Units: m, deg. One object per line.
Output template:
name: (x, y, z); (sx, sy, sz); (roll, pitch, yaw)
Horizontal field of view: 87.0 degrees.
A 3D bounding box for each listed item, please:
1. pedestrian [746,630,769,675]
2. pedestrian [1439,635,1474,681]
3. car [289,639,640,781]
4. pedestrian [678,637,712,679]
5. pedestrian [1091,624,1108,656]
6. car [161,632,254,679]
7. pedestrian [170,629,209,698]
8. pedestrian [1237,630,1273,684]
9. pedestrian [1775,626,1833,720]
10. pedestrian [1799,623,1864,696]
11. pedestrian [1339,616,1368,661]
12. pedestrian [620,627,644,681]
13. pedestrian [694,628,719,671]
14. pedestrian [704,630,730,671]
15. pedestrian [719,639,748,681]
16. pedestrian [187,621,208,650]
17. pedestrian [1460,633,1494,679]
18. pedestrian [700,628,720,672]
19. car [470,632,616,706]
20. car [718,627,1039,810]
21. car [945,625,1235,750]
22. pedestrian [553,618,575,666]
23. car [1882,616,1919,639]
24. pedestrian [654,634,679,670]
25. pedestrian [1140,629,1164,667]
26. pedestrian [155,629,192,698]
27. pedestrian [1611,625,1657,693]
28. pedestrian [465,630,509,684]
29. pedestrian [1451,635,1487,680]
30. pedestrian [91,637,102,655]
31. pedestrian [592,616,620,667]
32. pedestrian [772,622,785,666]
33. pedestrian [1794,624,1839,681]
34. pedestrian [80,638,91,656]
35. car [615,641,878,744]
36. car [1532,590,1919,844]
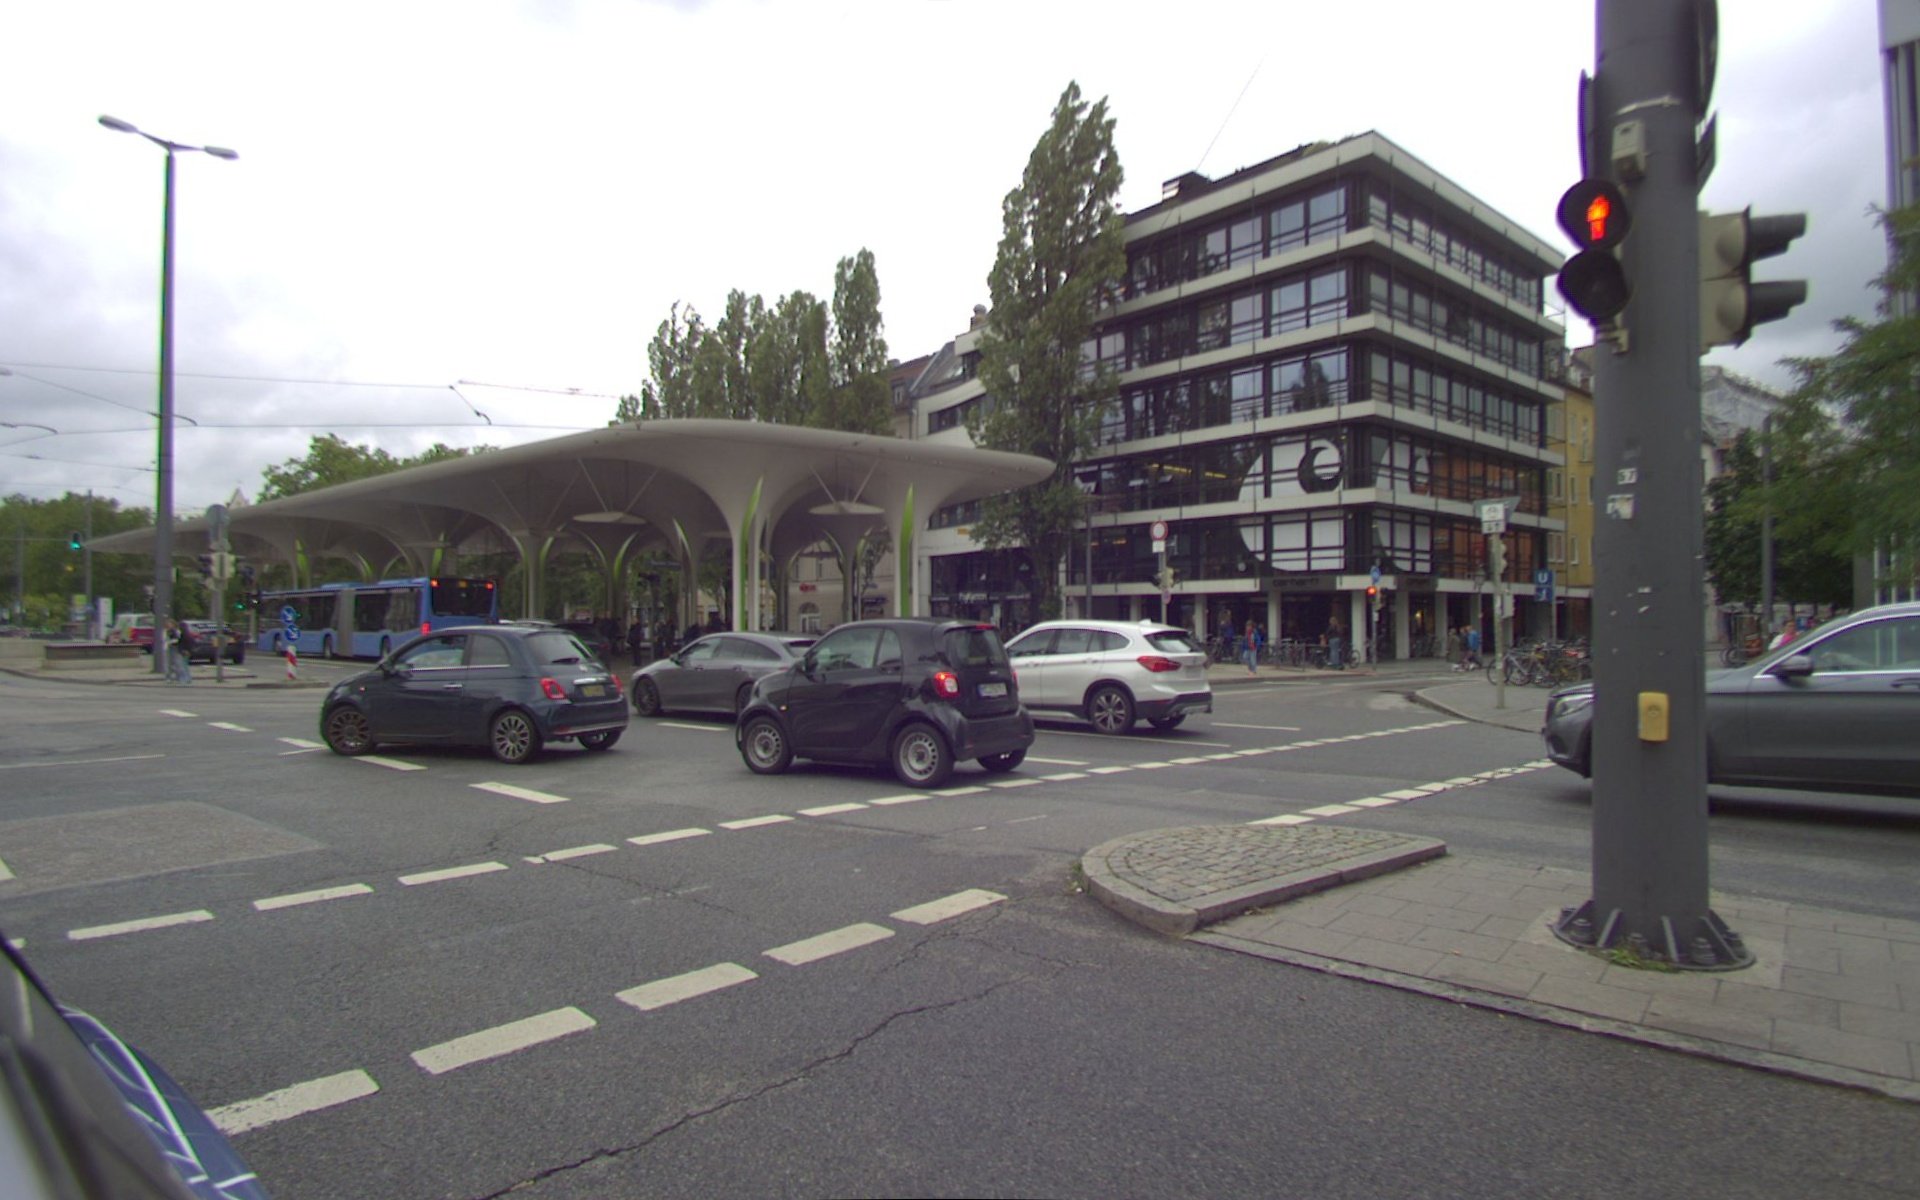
pedestrian: (-7.444, 1.914, 37.213); (0.624, 1.623, 0.589); (-2, -2, 45)
pedestrian: (18.059, 2.091, 36.829); (0.777, 1.654, 0.860); (1, -2, -38)
car: (-5.656, 1.190, 11.659); (3.507, 1.457, 1.542); (-1, -3, 16)
pedestrian: (-9.363, 2.030, 35.704); (1.007, 1.464, 0.857); (0, -2, -27)
pedestrian: (7.241, 2.075, 52.492); (0.585, 1.604, 0.674); (1, -2, -39)
car: (-26.483, 1.920, 35.592); (4.277, 1.520, 1.648); (-2, -1, 39)
pedestrian: (-18.553, 1.515, 24.374); (0.551, 1.631, 0.486); (-1, -2, 6)
pedestrian: (9.297, 1.781, 31.899); (0.845, 1.654, 0.790); (1, -3, -45)
pedestrian: (14.671, 1.255, 17.605); (0.720, 1.586, 0.631); (-2, -2, 40)
pedestrian: (20.741, 1.409, 24.107); (0.854, 1.700, 0.785); (-1, -2, 14)
pedestrian: (17.851, 1.733, 45.871); (0.823, 2.029, 0.919); (1, -2, -42)
pedestrian: (-10.726, 1.747, 33.075); (0.540, 1.733, 0.616); (1, -2, -42)
pedestrian: (-9.557, 1.855, 38.185); (0.860, 1.595, 0.552); (0, -2, -7)
pedestrian: (-8.808, 1.836, 36.670); (0.860, 1.469, 0.552); (0, -2, -7)
pedestrian: (-8.515, 2.246, 38.006); (0.797, 1.542, 0.725); (-2, -2, 43)
pedestrian: (-48.649, 2.270, 64.584); (0.802, 1.853, 0.664); (-1, -2, 10)
pedestrian: (19.320, 2.079, 37.829); (0.789, 1.666, 0.854); (1, -2, -38)
pedestrian: (-9.248, 1.848, 37.416); (0.655, 1.595, 0.499); (0, -2, -8)
car: (-10.417, 1.648, 25.174); (3.998, 1.674, 1.764); (-2, -2, 41)
car: (-0.815, 1.059, 9.950); (2.828, 1.546, 1.491); (-1, -3, 32)
car: (1.841, 1.223, 15.016); (3.996, 1.608, 1.681); (-2, -4, 40)
pedestrian: (-14.394, 1.510, 36.792); (0.692, 1.724, 0.759); (0, -2, -25)
car: (73.679, 2.123, 79.079); (3.937, 1.764, 1.964); (1, -2, -41)
pedestrian: (-13.407, 2.359, 46.202); (0.801, 1.623, 0.791); (1, -2, -43)
pedestrian: (9.245, 2.313, 48.723); (0.710, 1.814, 0.829); (1, -2, -40)
pedestrian: (-18.957, 1.528, 24.407); (0.514, 1.631, 0.464); (0, -2, -6)
pedestrian: (16.637, 1.441, 24.999); (0.805, 1.631, 0.834); (-1, -2, 26)
pedestrian: (-15.022, 1.796, 32.134); (0.835, 1.694, 0.966); (-1, -2, 21)
pedestrian: (18.765, 2.099, 37.304); (0.730, 1.600, 0.951); (1, -2, -38)
pedestrian: (-75.501, 4.047, 88.501); (0.588, 1.570, 0.624); (-2, -3, 39)
pedestrian: (-12.910, 1.490, 36.897); (0.793, 1.831, 0.707); (1, -2, -34)
pedestrian: (-8.231, 1.996, 45.966); (0.418, 1.947, 0.481); (-1, -2, 12)
pedestrian: (25.987, 1.580, 30.709); (0.789, 1.666, 0.854); (1, -2, -38)
pedestrian: (-75.825, 4.061, 87.743); (0.588, 1.570, 0.624); (-2, -3, 39)
car: (-3.508, 1.381, 16.279); (4.162, 1.422, 1.974); (-2, -2, 39)
car: (7.008, 0.818, 7.364); (4.727, 1.683, 1.725); (-2, -4, 40)
